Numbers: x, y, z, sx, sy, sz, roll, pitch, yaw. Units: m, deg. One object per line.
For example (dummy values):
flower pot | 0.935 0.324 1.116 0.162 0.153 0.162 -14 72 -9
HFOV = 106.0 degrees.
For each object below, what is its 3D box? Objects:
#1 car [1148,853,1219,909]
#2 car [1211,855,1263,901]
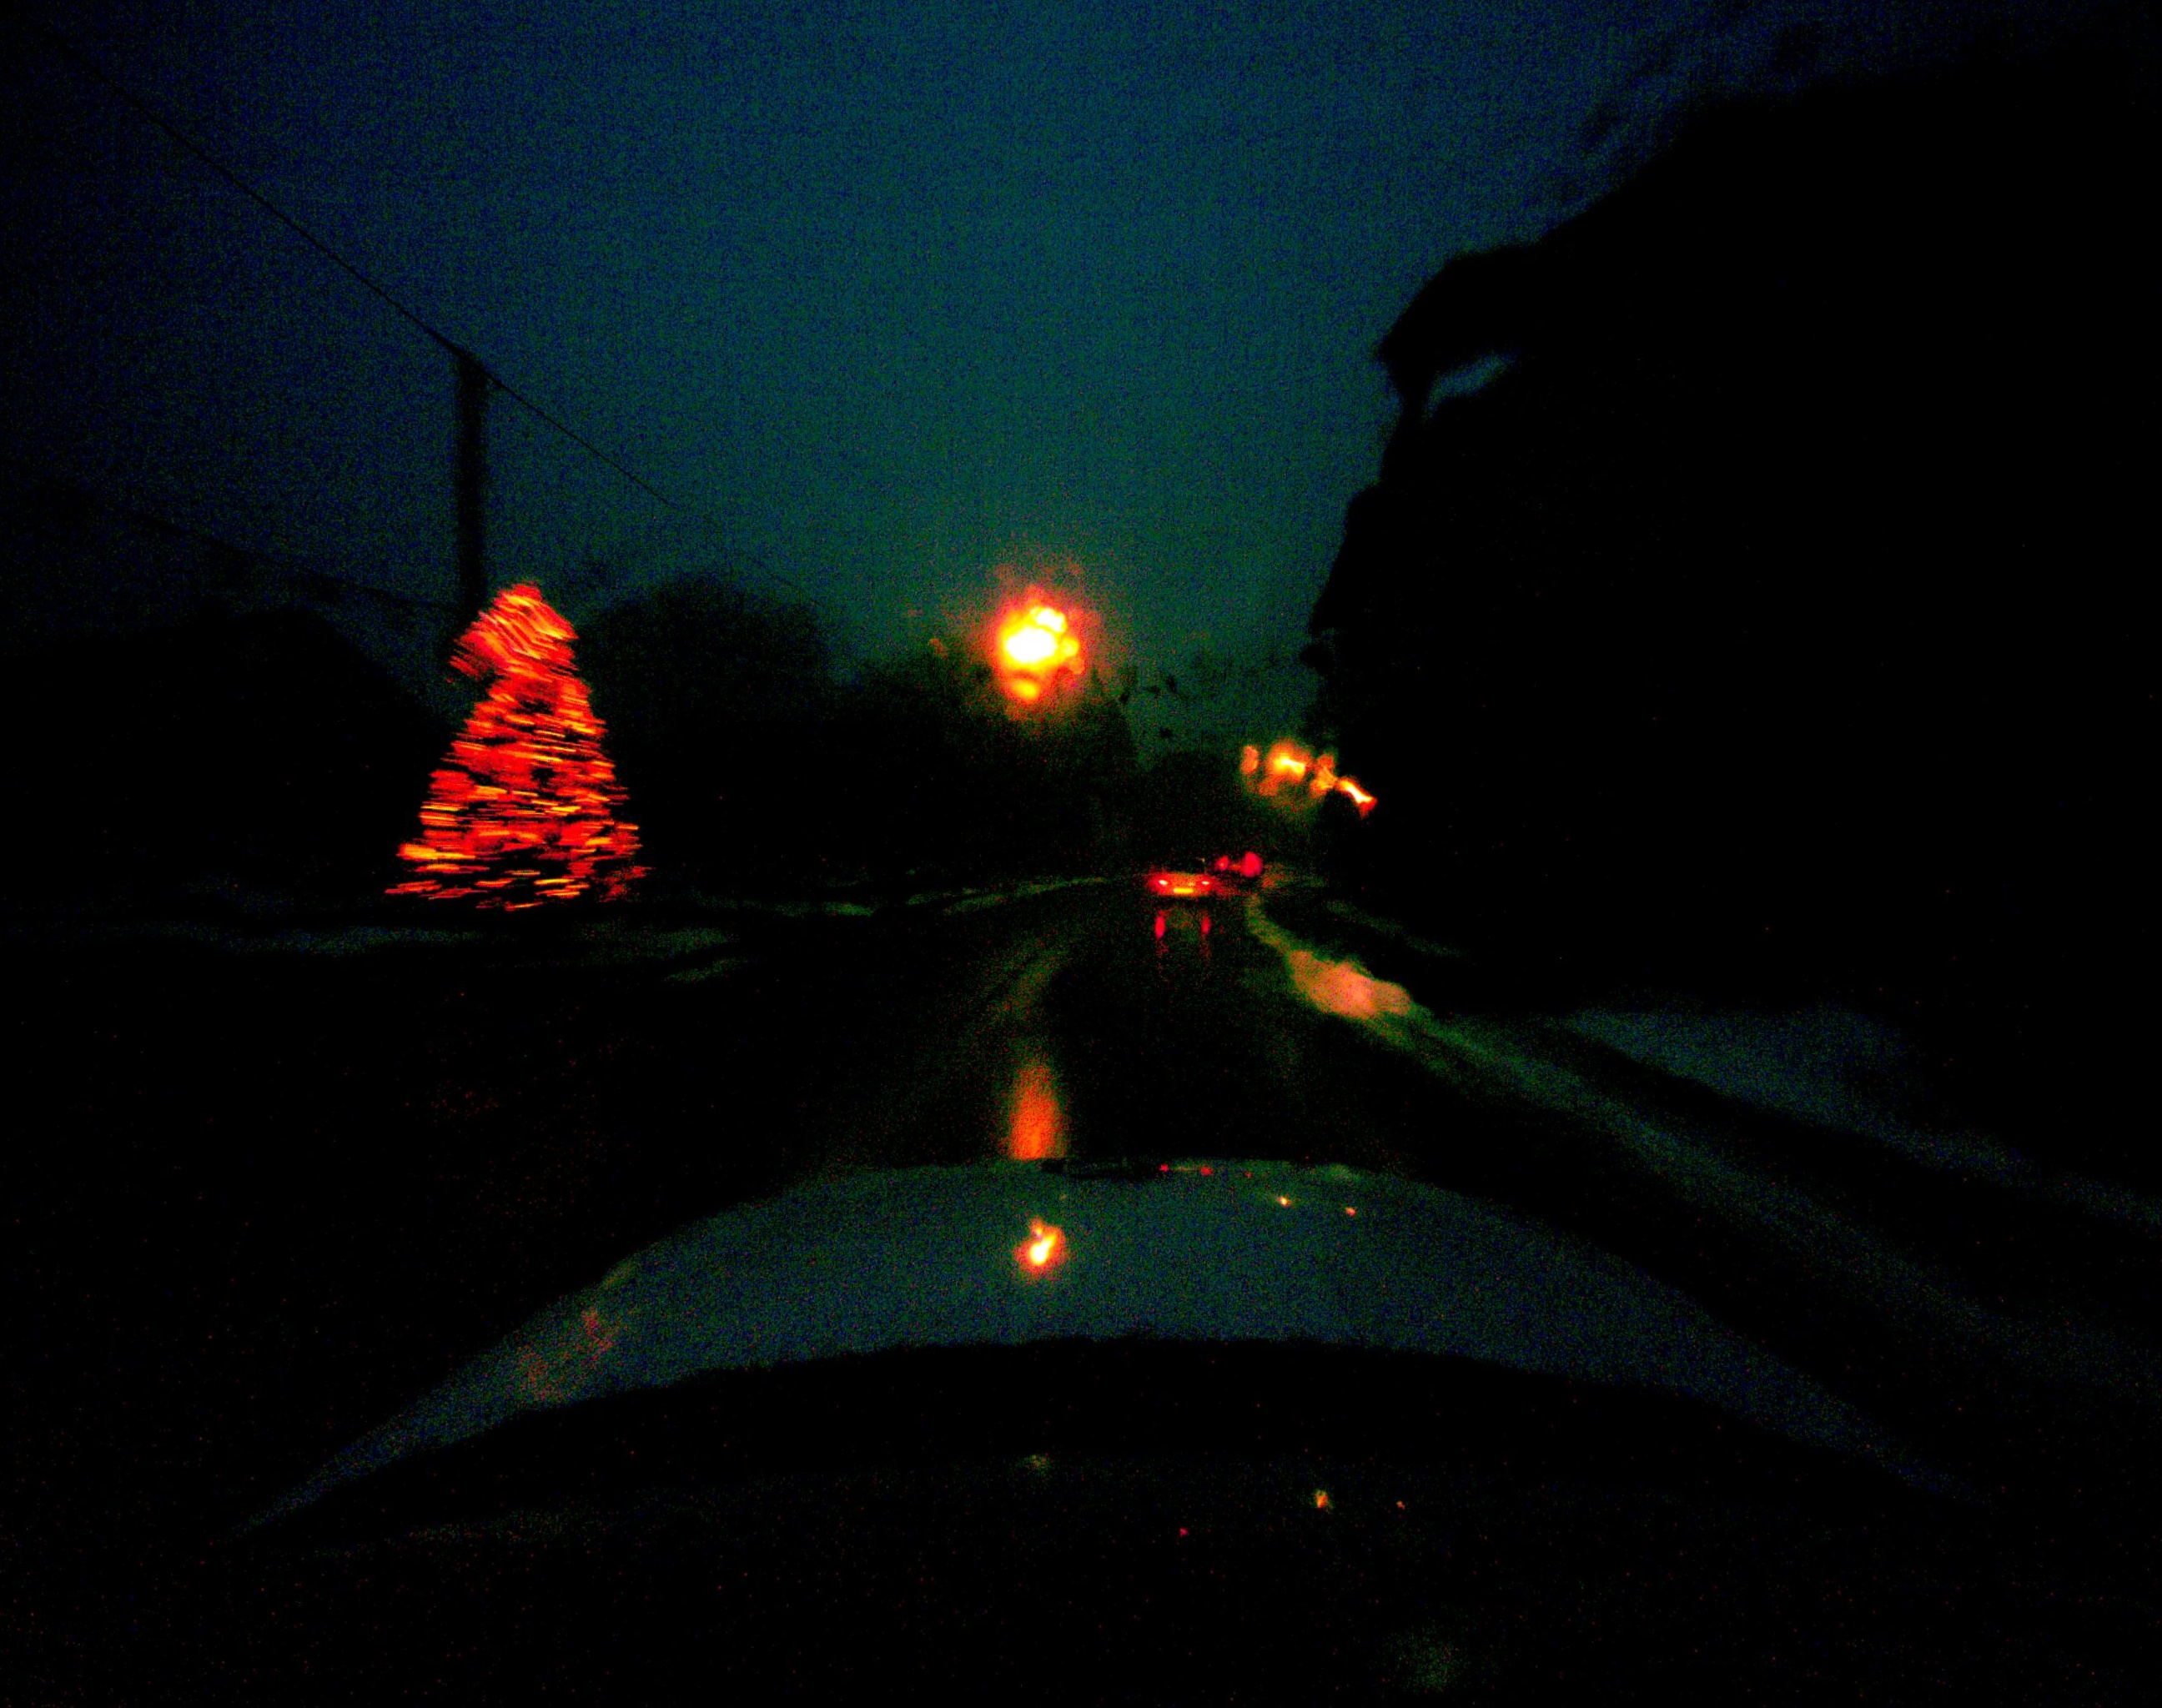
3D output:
car | 3.185 0.867 25.450 1.983 1.508 4.006 3 -2 7
car | 7.577 1.192 39.255 1.978 2.014 4.016 2 -2 17
